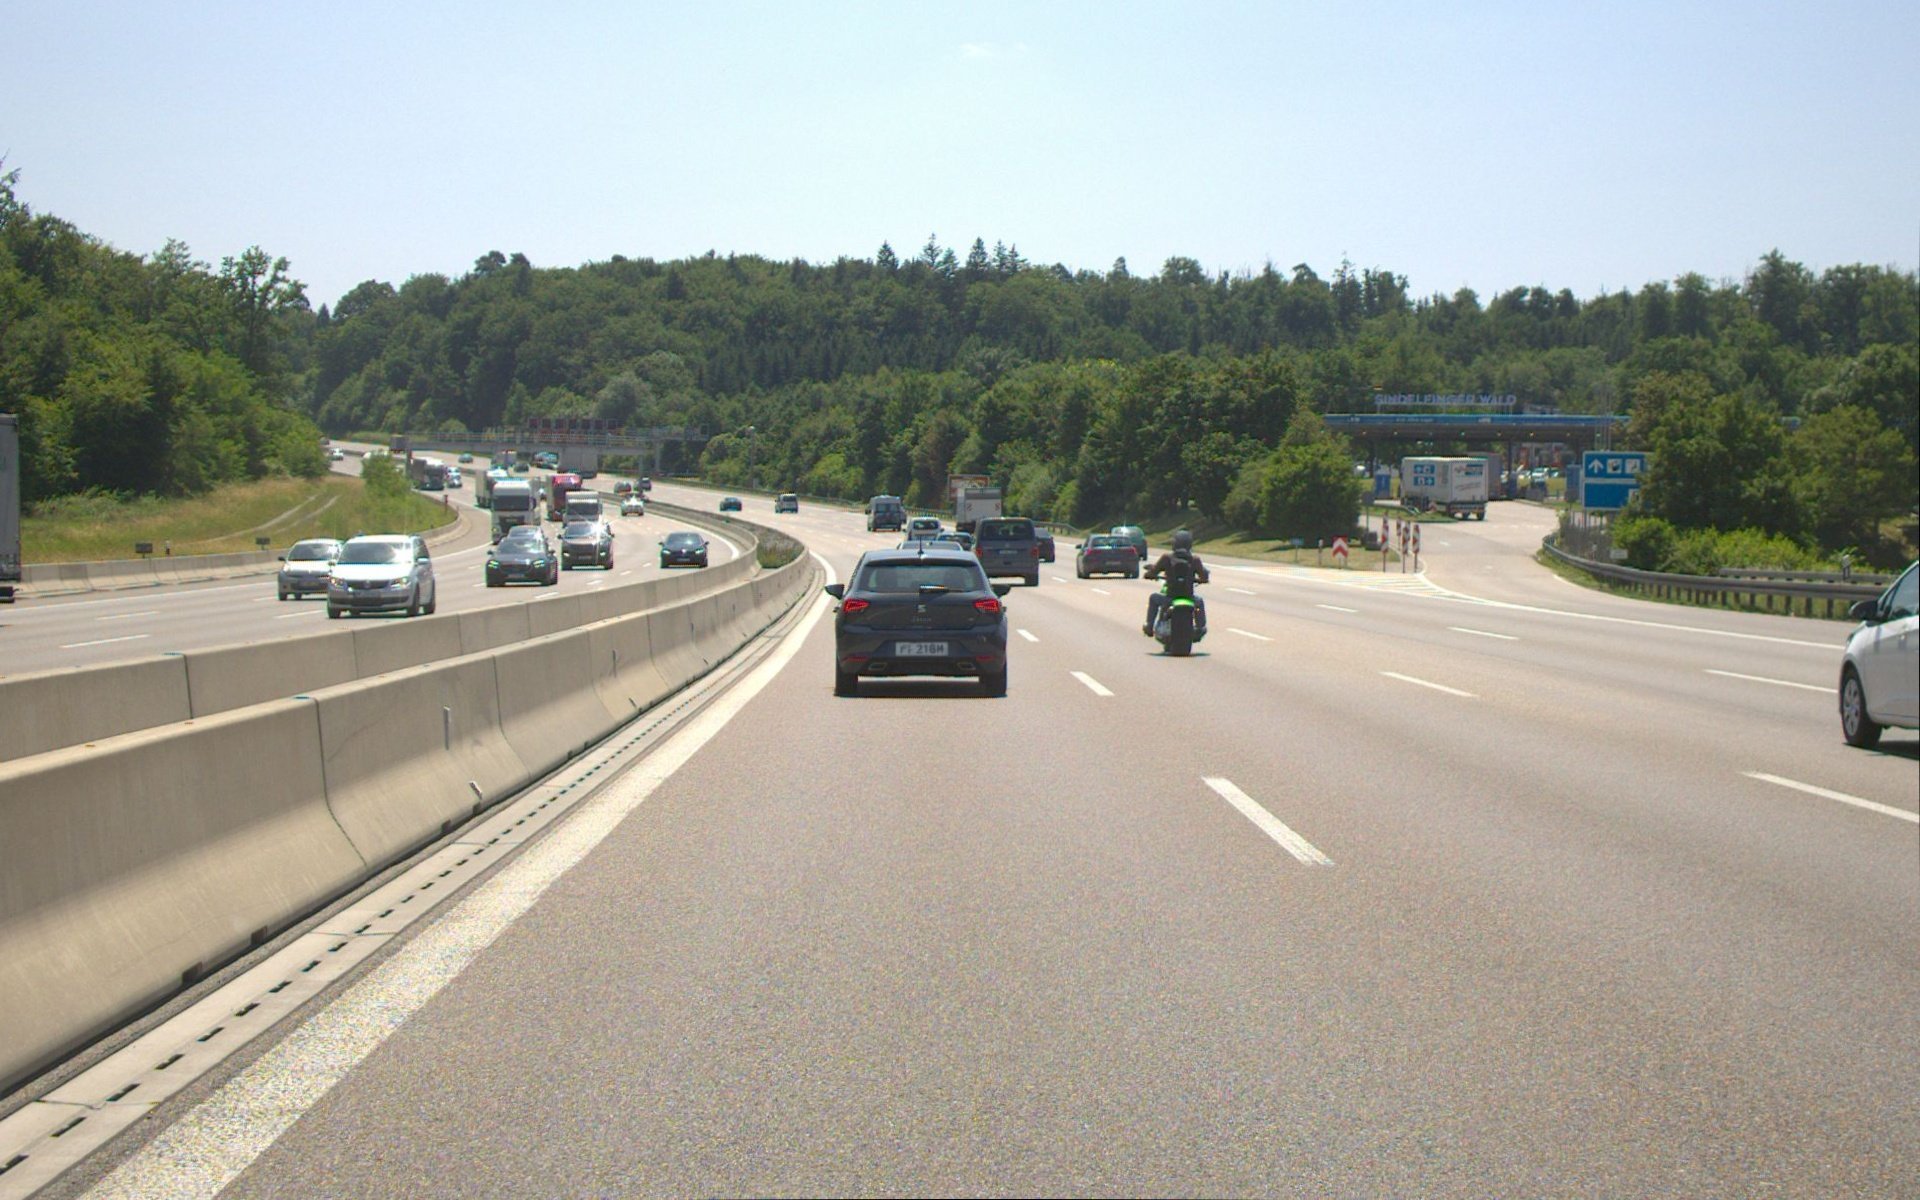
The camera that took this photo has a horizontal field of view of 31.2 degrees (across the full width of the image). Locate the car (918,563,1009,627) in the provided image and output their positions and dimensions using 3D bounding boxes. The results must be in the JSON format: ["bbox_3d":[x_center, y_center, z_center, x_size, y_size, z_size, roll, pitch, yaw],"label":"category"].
[{"bbox_3d":[0.051,-0.120,71.590,1.782,1.261,3.460,0,1,-1],"label":"car"}]

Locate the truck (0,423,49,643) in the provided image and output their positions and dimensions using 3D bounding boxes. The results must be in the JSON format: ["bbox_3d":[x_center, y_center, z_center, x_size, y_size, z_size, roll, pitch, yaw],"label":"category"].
[{"bbox_3d":[-18.822,-1.189,59.126,2.690,4.012,14.299,0,1,-1],"label":"truck"}]

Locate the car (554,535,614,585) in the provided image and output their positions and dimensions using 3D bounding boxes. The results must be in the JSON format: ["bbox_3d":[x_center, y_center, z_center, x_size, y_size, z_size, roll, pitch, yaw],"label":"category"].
[{"bbox_3d":[-14.791,-1.555,135.447,1.872,1.933,5.775,0,1,-1],"label":"car"}]

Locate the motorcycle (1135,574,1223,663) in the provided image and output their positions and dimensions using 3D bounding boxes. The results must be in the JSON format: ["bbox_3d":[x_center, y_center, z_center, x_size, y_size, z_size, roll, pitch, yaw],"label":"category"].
[{"bbox_3d":[2.893,0.233,45.726,0.977,1.125,2.271,1,1,-1],"label":"motorcycle"}]

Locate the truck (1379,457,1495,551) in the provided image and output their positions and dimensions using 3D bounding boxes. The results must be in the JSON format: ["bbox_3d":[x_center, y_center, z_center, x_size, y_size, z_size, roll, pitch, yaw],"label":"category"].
[{"bbox_3d":[32.562,-6.478,235.668,5.508,6.245,15.432,0,1,-1],"label":"truck"}]

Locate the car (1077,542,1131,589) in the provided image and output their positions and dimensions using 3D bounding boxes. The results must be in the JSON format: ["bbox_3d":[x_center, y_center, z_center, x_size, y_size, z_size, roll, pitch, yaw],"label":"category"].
[{"bbox_3d":[4.595,-1.115,109.967,1.675,1.427,3.685,2,1,2],"label":"car"}]

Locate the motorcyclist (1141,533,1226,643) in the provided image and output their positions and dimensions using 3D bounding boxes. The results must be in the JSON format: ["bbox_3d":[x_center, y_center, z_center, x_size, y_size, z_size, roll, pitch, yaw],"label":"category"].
[{"bbox_3d":[2.956,-0.174,45.581,0.962,1.432,1.235,0,1,-4],"label":"motorcyclist"}]

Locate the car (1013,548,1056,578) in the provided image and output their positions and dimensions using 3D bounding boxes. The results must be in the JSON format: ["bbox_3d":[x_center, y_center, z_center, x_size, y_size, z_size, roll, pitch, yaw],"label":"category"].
[{"bbox_3d":[3.099,-1.559,143.919,1.608,1.208,3.460,1,1,-1],"label":"car"}]

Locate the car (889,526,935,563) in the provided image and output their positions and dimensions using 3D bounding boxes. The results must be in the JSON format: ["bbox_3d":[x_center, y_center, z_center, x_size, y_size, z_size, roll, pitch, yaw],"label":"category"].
[{"bbox_3d":[-2.408,-2.774,171.189,1.993,1.678,4.424,3,2,-4],"label":"car"}]

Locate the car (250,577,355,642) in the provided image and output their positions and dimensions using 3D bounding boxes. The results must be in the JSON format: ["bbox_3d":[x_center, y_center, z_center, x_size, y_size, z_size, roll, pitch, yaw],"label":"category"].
[{"bbox_3d":[-15.971,0.220,83.690,1.872,1.529,4.136,0,1,-1],"label":"car"}]

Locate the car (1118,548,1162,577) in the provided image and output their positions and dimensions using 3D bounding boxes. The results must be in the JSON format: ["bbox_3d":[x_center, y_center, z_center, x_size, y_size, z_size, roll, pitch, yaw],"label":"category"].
[{"bbox_3d":[7.579,-1.596,145.189,1.608,1.208,3.460,0,1,-1],"label":"car"}]

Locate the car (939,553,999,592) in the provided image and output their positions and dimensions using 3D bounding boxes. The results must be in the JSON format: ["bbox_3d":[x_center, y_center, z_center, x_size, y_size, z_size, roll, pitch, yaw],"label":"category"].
[{"bbox_3d":[0.321,-1.015,125.547,1.842,1.218,4.225,3,2,-4],"label":"car"}]

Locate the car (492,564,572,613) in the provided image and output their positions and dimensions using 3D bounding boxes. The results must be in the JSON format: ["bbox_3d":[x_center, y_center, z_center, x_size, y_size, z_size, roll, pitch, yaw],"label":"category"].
[{"bbox_3d":[-12.994,-0.364,104.553,1.872,1.471,5.112,0,1,-1],"label":"car"}]

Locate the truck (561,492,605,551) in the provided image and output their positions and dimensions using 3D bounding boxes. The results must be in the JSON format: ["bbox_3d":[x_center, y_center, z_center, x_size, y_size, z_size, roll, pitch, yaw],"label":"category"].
[{"bbox_3d":[-27.125,-5.621,247.770,2.531,4.163,9.620,0,1,-2],"label":"truck"}]

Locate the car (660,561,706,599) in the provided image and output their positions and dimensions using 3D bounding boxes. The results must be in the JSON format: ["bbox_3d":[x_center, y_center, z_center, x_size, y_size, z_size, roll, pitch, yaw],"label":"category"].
[{"bbox_3d":[-11.019,-0.803,136.961,1.601,1.463,4.506,0,1,-1],"label":"car"}]

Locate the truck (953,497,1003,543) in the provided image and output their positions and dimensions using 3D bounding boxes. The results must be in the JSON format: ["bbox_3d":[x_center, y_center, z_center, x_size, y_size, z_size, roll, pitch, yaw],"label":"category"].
[{"bbox_3d":[1.146,-5.196,222.982,2.726,2.776,5.684,3,2,-4],"label":"truck"}]

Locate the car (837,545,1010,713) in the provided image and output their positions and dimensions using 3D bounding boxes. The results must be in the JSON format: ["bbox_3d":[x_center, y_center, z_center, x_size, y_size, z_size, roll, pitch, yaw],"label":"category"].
[{"bbox_3d":[-0.328,0.248,34.735,1.624,1.482,3.685,1,2,1],"label":"car"}]

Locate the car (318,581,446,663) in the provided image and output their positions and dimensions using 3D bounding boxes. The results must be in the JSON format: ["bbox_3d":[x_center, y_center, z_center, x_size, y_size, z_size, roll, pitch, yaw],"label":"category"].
[{"bbox_3d":[-11.475,0.408,68.546,1.831,1.556,4.777,0,1,-1],"label":"car"}]

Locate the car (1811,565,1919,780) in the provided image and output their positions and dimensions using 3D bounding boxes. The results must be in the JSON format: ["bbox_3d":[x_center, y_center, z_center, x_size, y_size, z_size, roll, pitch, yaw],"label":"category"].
[{"bbox_3d":[7.303,0.475,23.825,1.666,1.428,4.376,-2,1,0],"label":"car"}]

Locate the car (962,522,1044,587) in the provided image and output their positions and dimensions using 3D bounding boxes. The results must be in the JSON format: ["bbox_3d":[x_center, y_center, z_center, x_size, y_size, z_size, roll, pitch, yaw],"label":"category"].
[{"bbox_3d":[1.232,-1.313,99.849,2.097,1.845,4.081,0,1,-3],"label":"car"}]

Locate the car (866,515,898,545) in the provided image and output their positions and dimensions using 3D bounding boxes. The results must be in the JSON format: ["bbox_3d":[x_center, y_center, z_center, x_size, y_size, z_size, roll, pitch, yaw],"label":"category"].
[{"bbox_3d":[-5.587,-5.030,246.432,1.993,2.006,4.675,3,2,-4],"label":"car"}]
